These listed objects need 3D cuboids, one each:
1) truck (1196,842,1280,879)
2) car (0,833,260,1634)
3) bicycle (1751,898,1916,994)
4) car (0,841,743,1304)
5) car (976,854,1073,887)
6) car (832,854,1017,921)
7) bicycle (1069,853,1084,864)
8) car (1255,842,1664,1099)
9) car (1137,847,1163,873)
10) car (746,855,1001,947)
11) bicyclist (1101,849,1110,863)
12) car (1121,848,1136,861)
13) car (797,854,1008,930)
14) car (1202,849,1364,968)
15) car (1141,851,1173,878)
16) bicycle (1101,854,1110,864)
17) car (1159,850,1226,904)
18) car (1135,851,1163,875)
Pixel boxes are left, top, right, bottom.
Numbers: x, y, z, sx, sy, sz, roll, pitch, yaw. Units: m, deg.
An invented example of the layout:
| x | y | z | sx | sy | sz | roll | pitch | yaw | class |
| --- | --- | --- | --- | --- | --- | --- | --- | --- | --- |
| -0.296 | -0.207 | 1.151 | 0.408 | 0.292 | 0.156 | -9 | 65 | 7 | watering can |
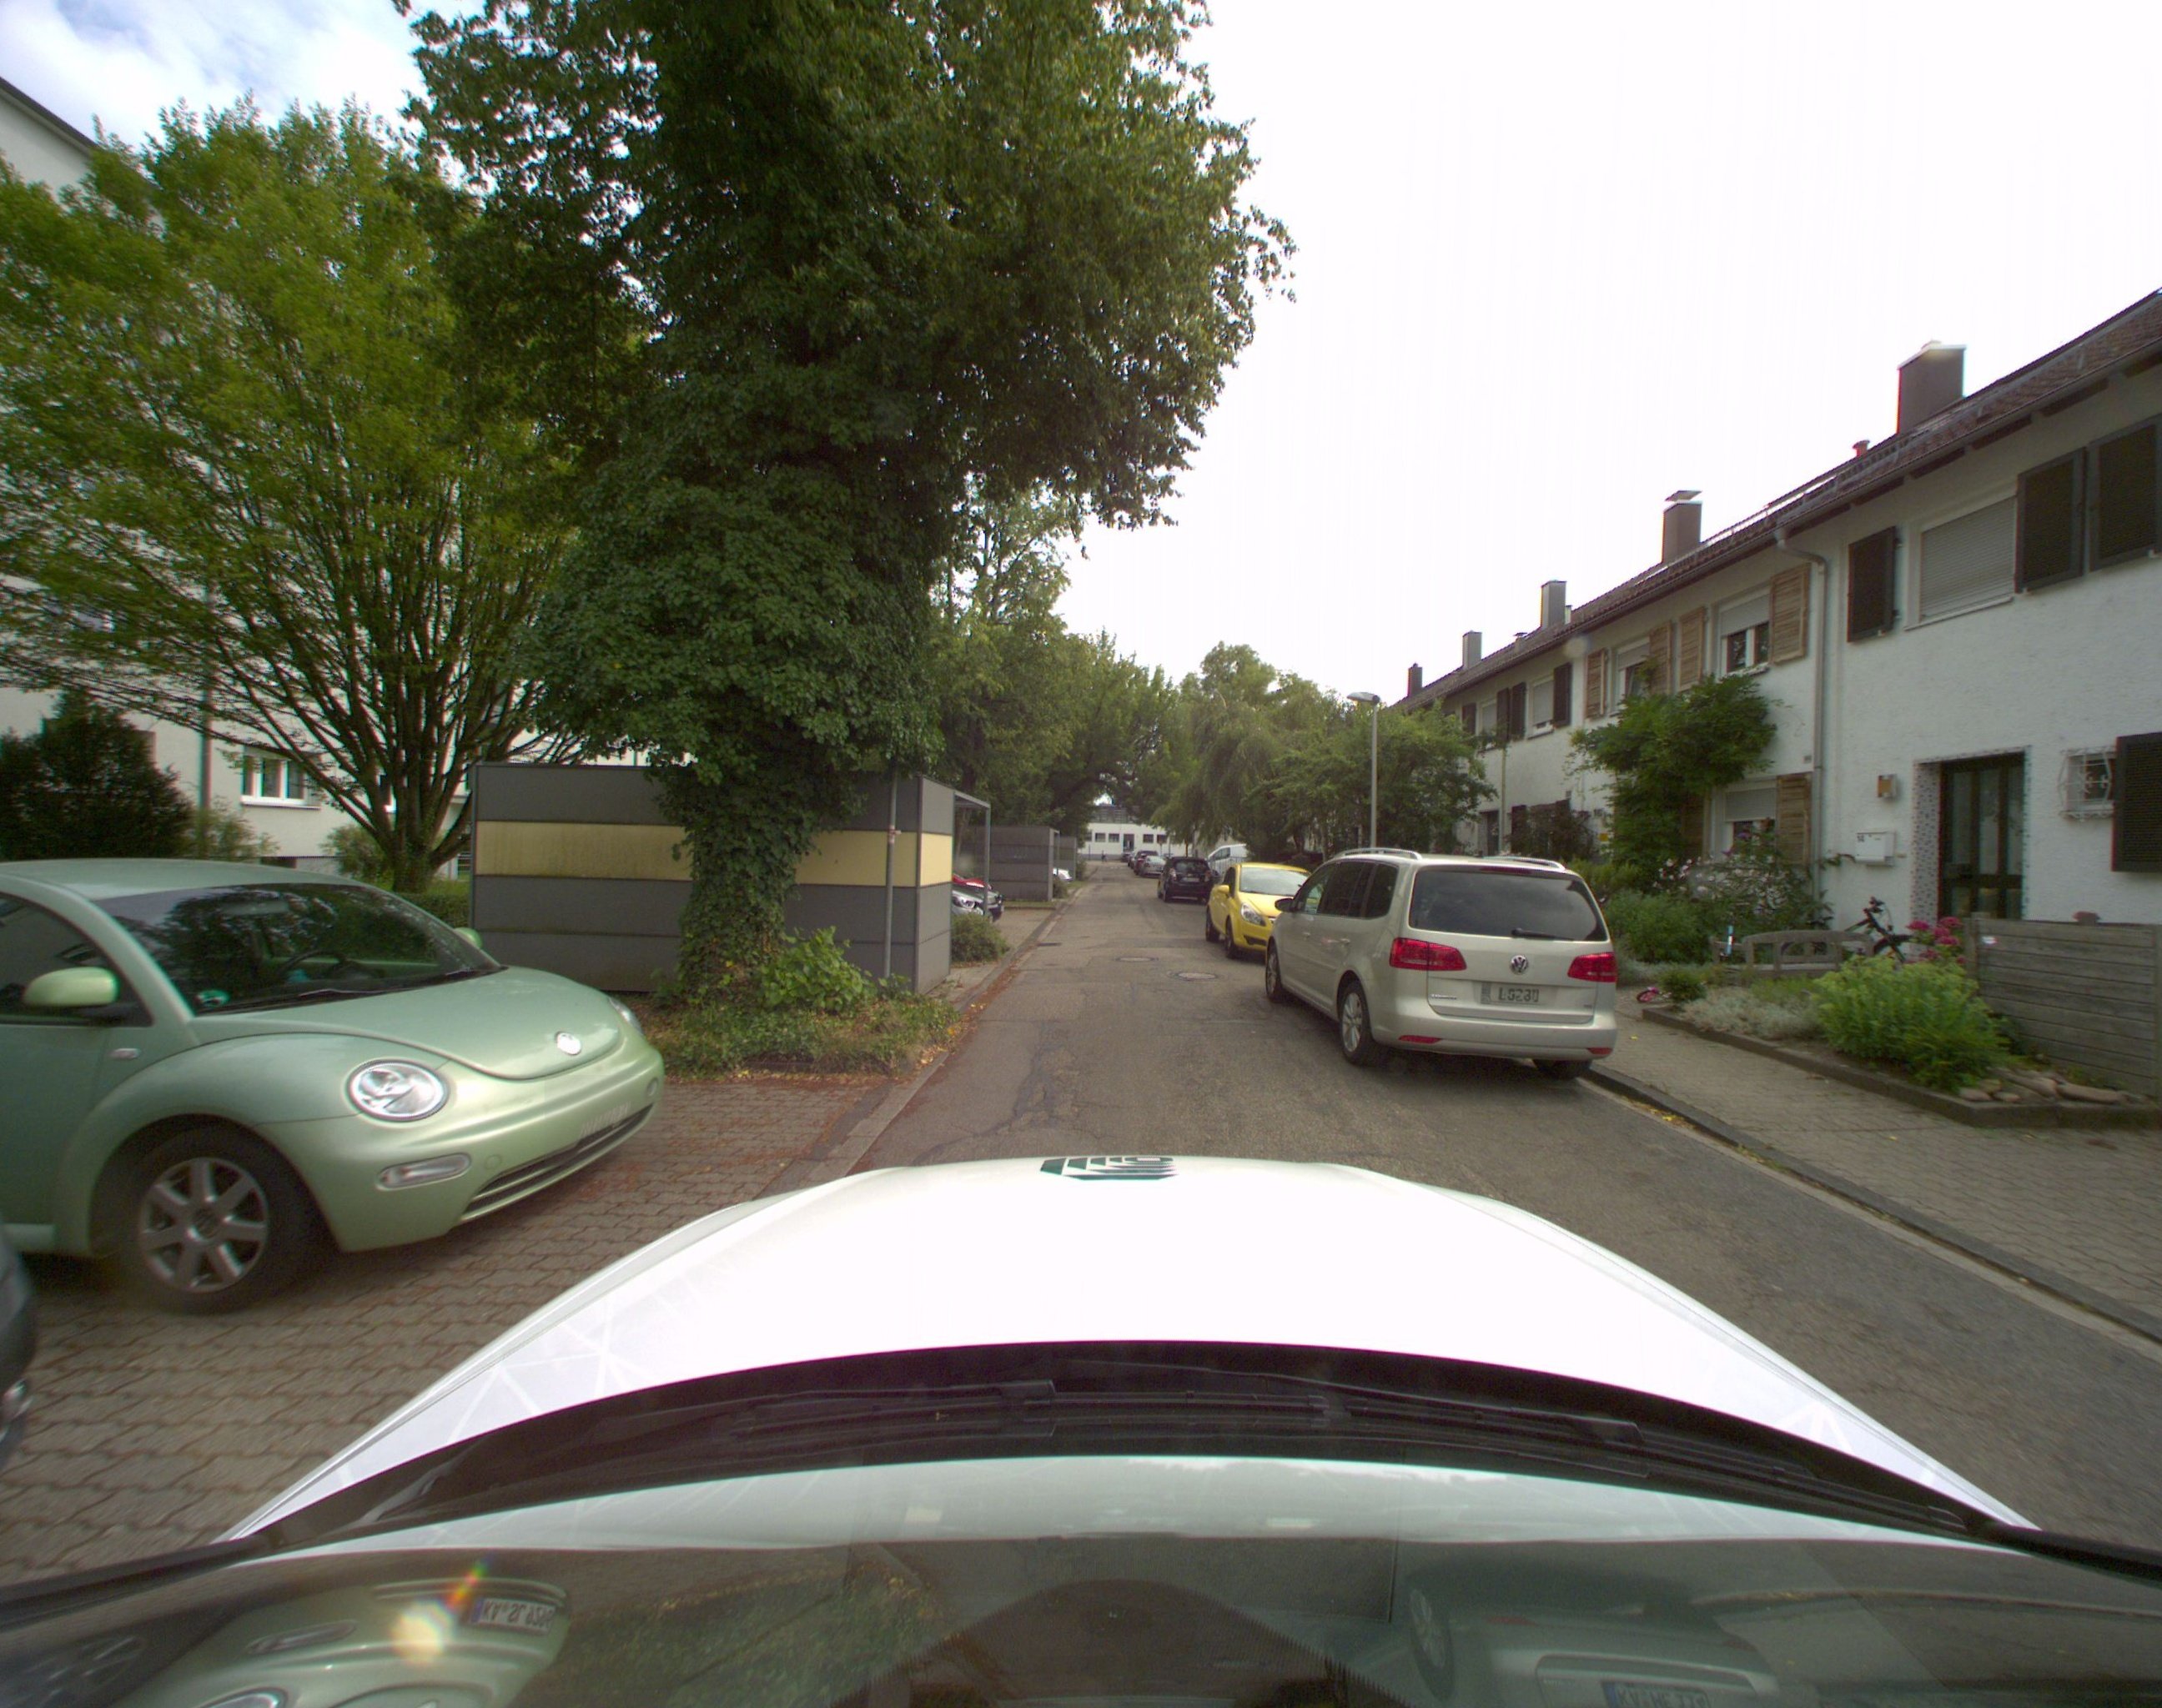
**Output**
| x | y | z | sx | sy | sz | roll | pitch | yaw | class |
| --- | --- | --- | --- | --- | --- | --- | --- | --- | --- |
| 8.730 | 0.376 | 45.655 | 4.374 | 2.013 | 2.001 | 0 | 0 | 1 | truck |
| -4.238 | 0.688 | 1.114 | 4.395 | 1.502 | 1.842 | 1 | 0 | 2 | car |
| 7.858 | 0.949 | 8.526 | 1.371 | 0.896 | 0.431 | -2 | 0 | -4 | bicycle |
| -4.128 | 0.705 | 3.668 | 4.395 | 1.502 | 1.842 | 1 | 0 | 2 | car |
| -2.416 | 0.703 | 35.586 | 4.016 | 1.394 | 1.738 | 1 | 0 | 1 | car |
| -3.597 | 0.746 | 19.222 | 3.972 | 1.464 | 1.738 | 1 | 0 | 1 | car |
| -0.514 | 0.543 | 97.240 | 1.799 | 1.118 | 0.629 | 3 | 0 | 0 | bicycle |
| 2.914 | 0.750 | 7.351 | 1.819 | 1.581 | 4.001 | 3 | 0 | 1 | car |
| 5.433 | 0.480 | 64.328 | 1.818 | 1.883 | 4.003 | 3 | 0 | 3 | car |
| -3.510 | 0.775 | 14.295 | 3.972 | 1.464 | 1.738 | 1 | 0 | 1 | car |
| 2.832 | 0.249 | 93.205 | 0.797 | 1.511 | 0.932 | 3 | 0 | -6 | bicyclist |
| 6.153 | 0.022 | 105.048 | 1.818 | 1.581 | 4.003 | 4 | 0 | 3 | car |
| -3.614 | 0.755 | 17.010 | 3.972 | 1.464 | 1.738 | 1 | 0 | 1 | car |
| 3.162 | 0.760 | 13.581 | 1.818 | 1.581 | 4.003 | 4 | 0 | 3 | car |
| 4.869 | 0.627 | 52.573 | 1.818 | 1.581 | 4.003 | 4 | 0 | 3 | car |
| 2.823 | 0.557 | 93.242 | 0.687 | 1.131 | 2.575 | 3 | 0 | -4 | bicycle |
| 3.683 | 0.716 | 27.526 | 1.818 | 1.581 | 4.196 | 4 | 0 | 3 | car |
| 4.834 | 0.604 | 58.310 | 1.818 | 1.581 | 4.003 | 4 | 0 | 3 | car |
